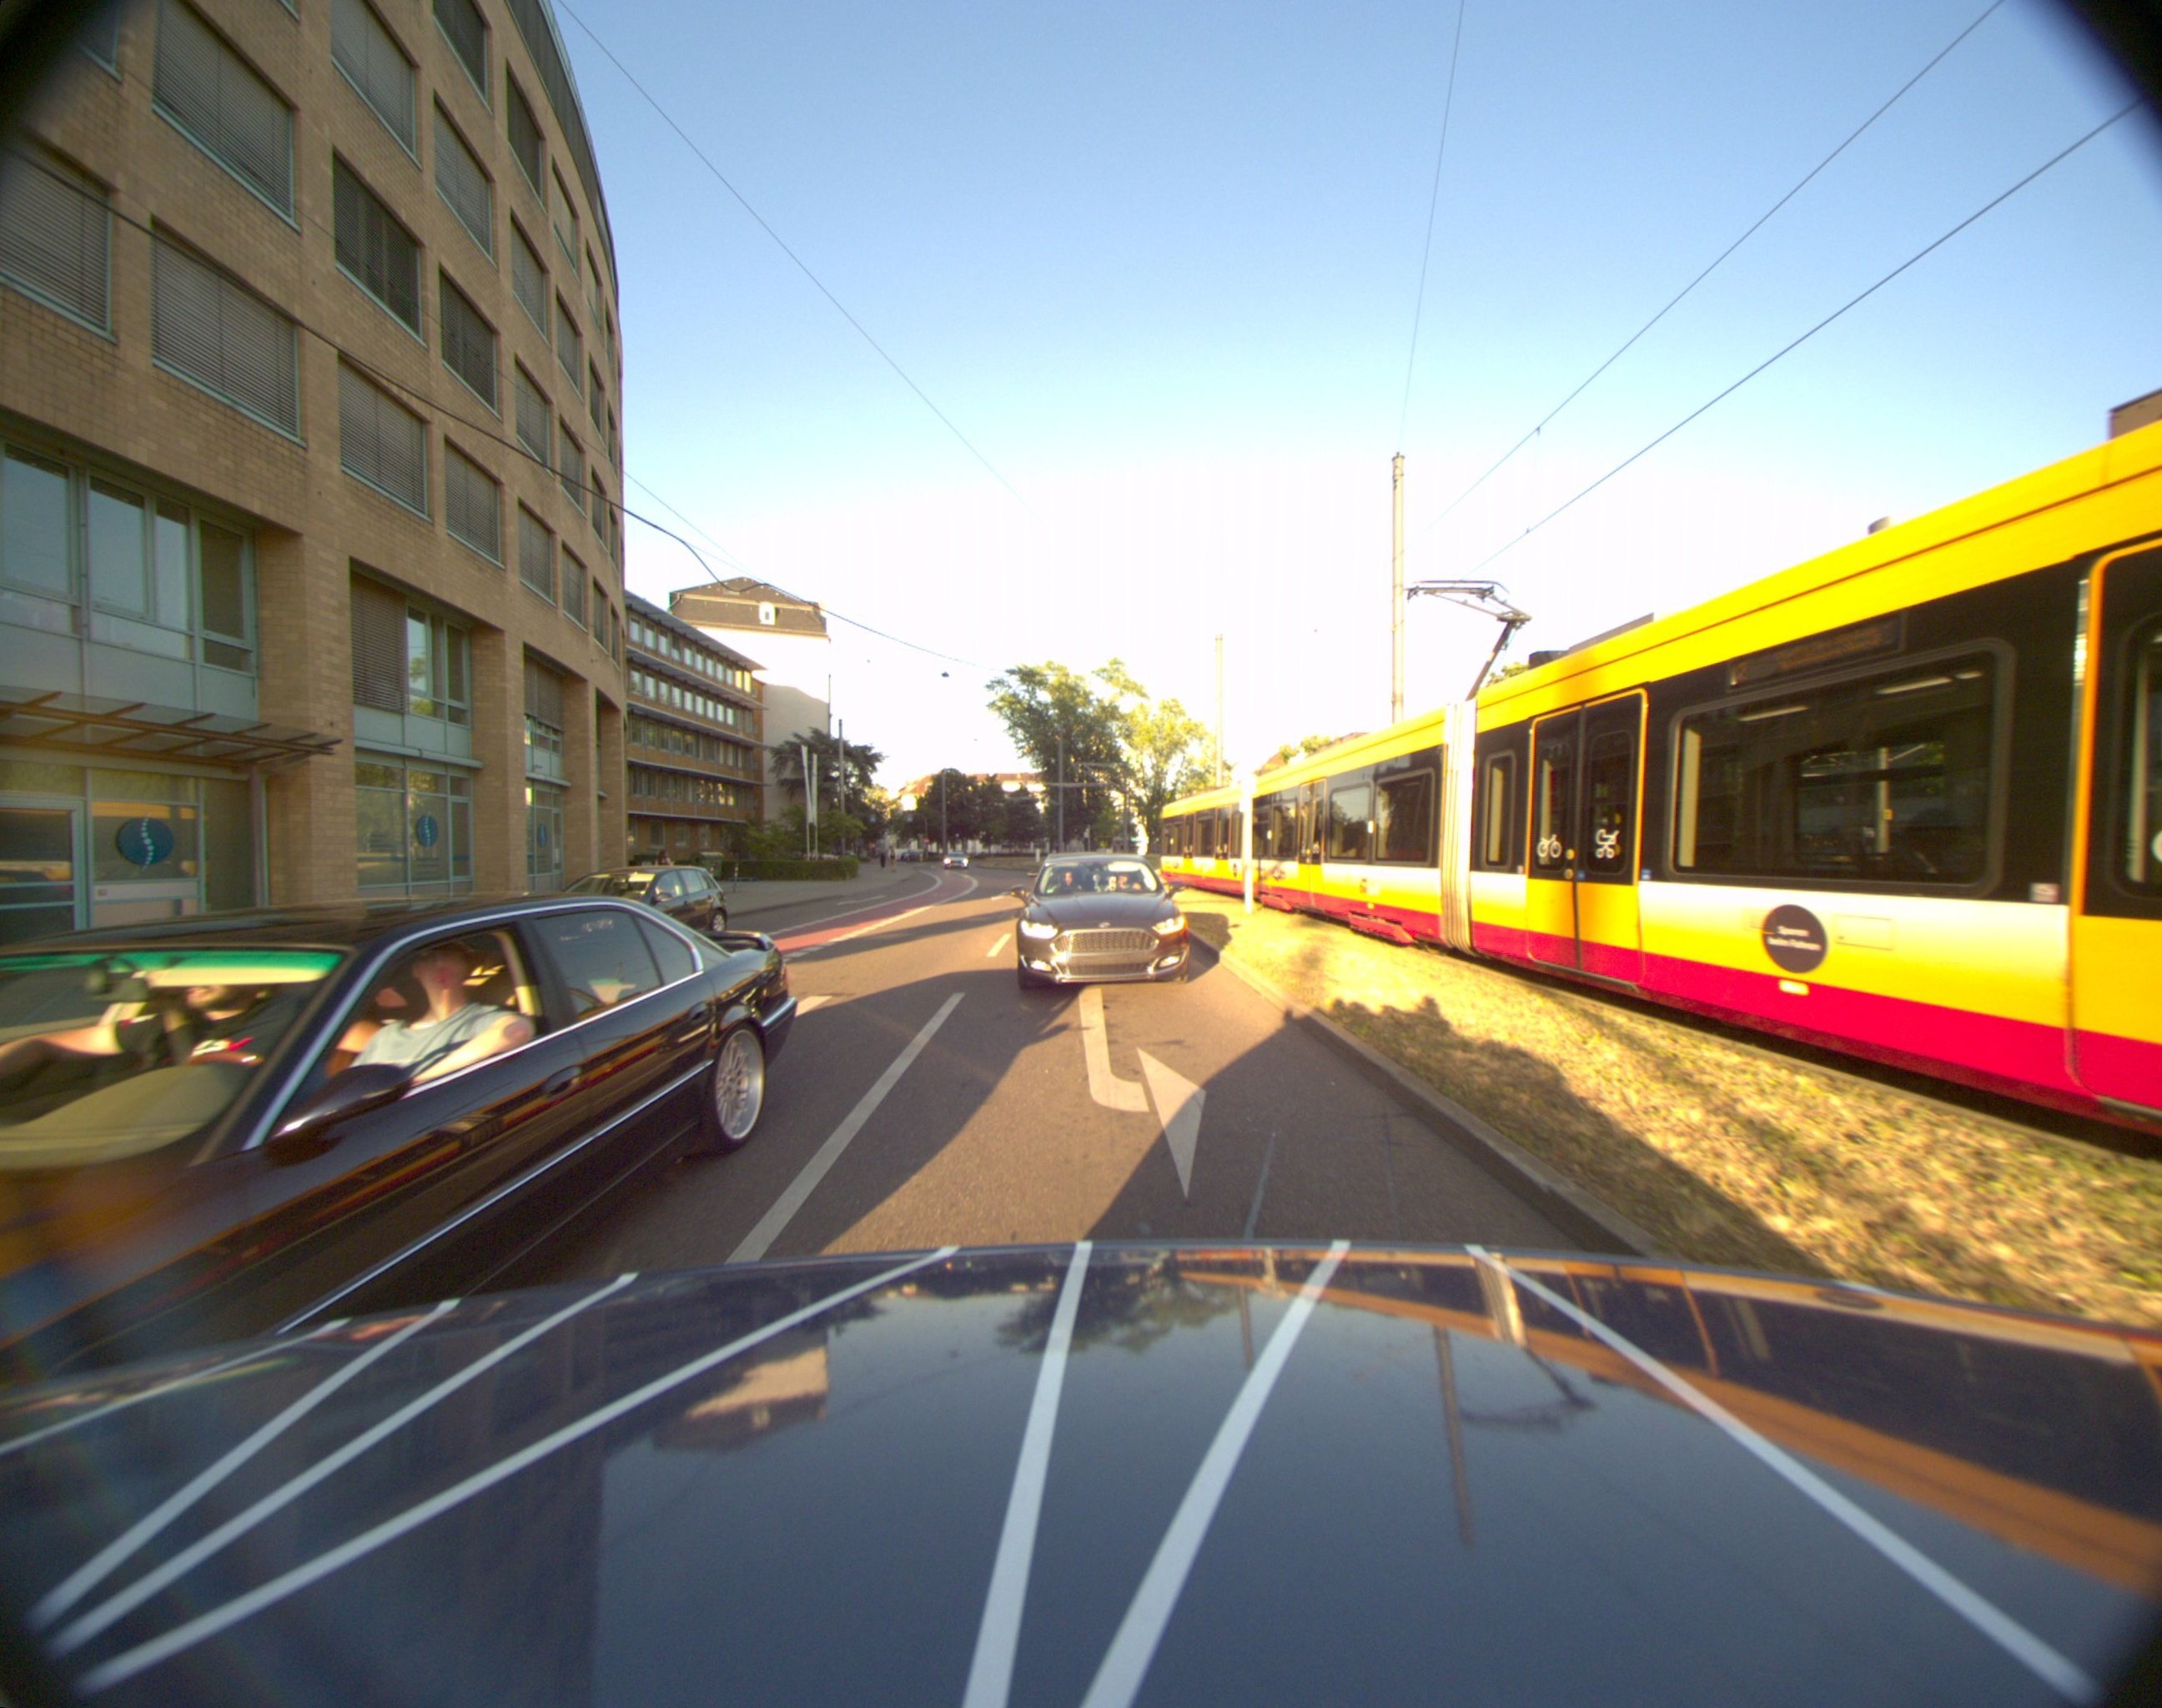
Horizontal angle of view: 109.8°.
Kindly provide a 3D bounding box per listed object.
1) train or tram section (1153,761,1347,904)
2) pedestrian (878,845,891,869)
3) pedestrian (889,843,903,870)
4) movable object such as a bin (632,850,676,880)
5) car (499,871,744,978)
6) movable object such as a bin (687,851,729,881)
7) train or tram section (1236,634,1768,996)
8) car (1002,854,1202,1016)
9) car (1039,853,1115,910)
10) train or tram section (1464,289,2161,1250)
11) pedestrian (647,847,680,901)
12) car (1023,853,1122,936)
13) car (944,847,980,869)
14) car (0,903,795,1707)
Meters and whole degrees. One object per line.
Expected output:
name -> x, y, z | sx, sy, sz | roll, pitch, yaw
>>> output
train or tram section -> 5.042, -0.657, 25.994 | 2.914, 3.717, 12.183 | -1, 1, -5
pedestrian -> -14.786, 0.217, 57.260 | 0.728, 1.797, 0.724 | -1, 1, 1
pedestrian -> -13.351, 0.175, 54.753 | 0.912, 1.884, 1.125 | -1, 1, -11
movable object such as a bin -> -21.245, 0.549, 37.863 | 1.427, 1.451, 1.332 | -1, 1, -2
car -> -7.490, 1.058, 12.933 | 1.759, 1.379, 3.999 | -1, 1, -1
movable object such as a bin -> -18.330, 0.582, 37.346 | 1.427, 1.451, 1.332 | -1, 1, -4
train or tram section -> 5.607, -0.481, 13.965 | 2.885, 3.717, 12.180 | -1, 1, -1
car -> 0.235, 0.772, 9.597 | 1.890, 1.477, 4.725 | 0, 1, 1
car -> -0.159, 0.727, 22.360 | 1.999, 1.453, 4.142 | -1, 1, -2
train or tram section -> 5.643, -0.317, 1.679 | 2.916, 3.717, 13.215 | -1, 1, 0
pedestrian -> -13.060, 0.618, 23.796 | 0.628, 1.672, 0.713 | -1, 1, -3
car -> -0.125, 0.778, 17.042 | 1.897, 1.527, 4.704 | -1, 1, 1
car -> -9.854, 0.278, 63.170 | 1.998, 1.740, 4.001 | 0, 1, 6
car -> -2.781, 1.039, 2.229 | 1.998, 1.377, 4.739 | -2, 1, 1
